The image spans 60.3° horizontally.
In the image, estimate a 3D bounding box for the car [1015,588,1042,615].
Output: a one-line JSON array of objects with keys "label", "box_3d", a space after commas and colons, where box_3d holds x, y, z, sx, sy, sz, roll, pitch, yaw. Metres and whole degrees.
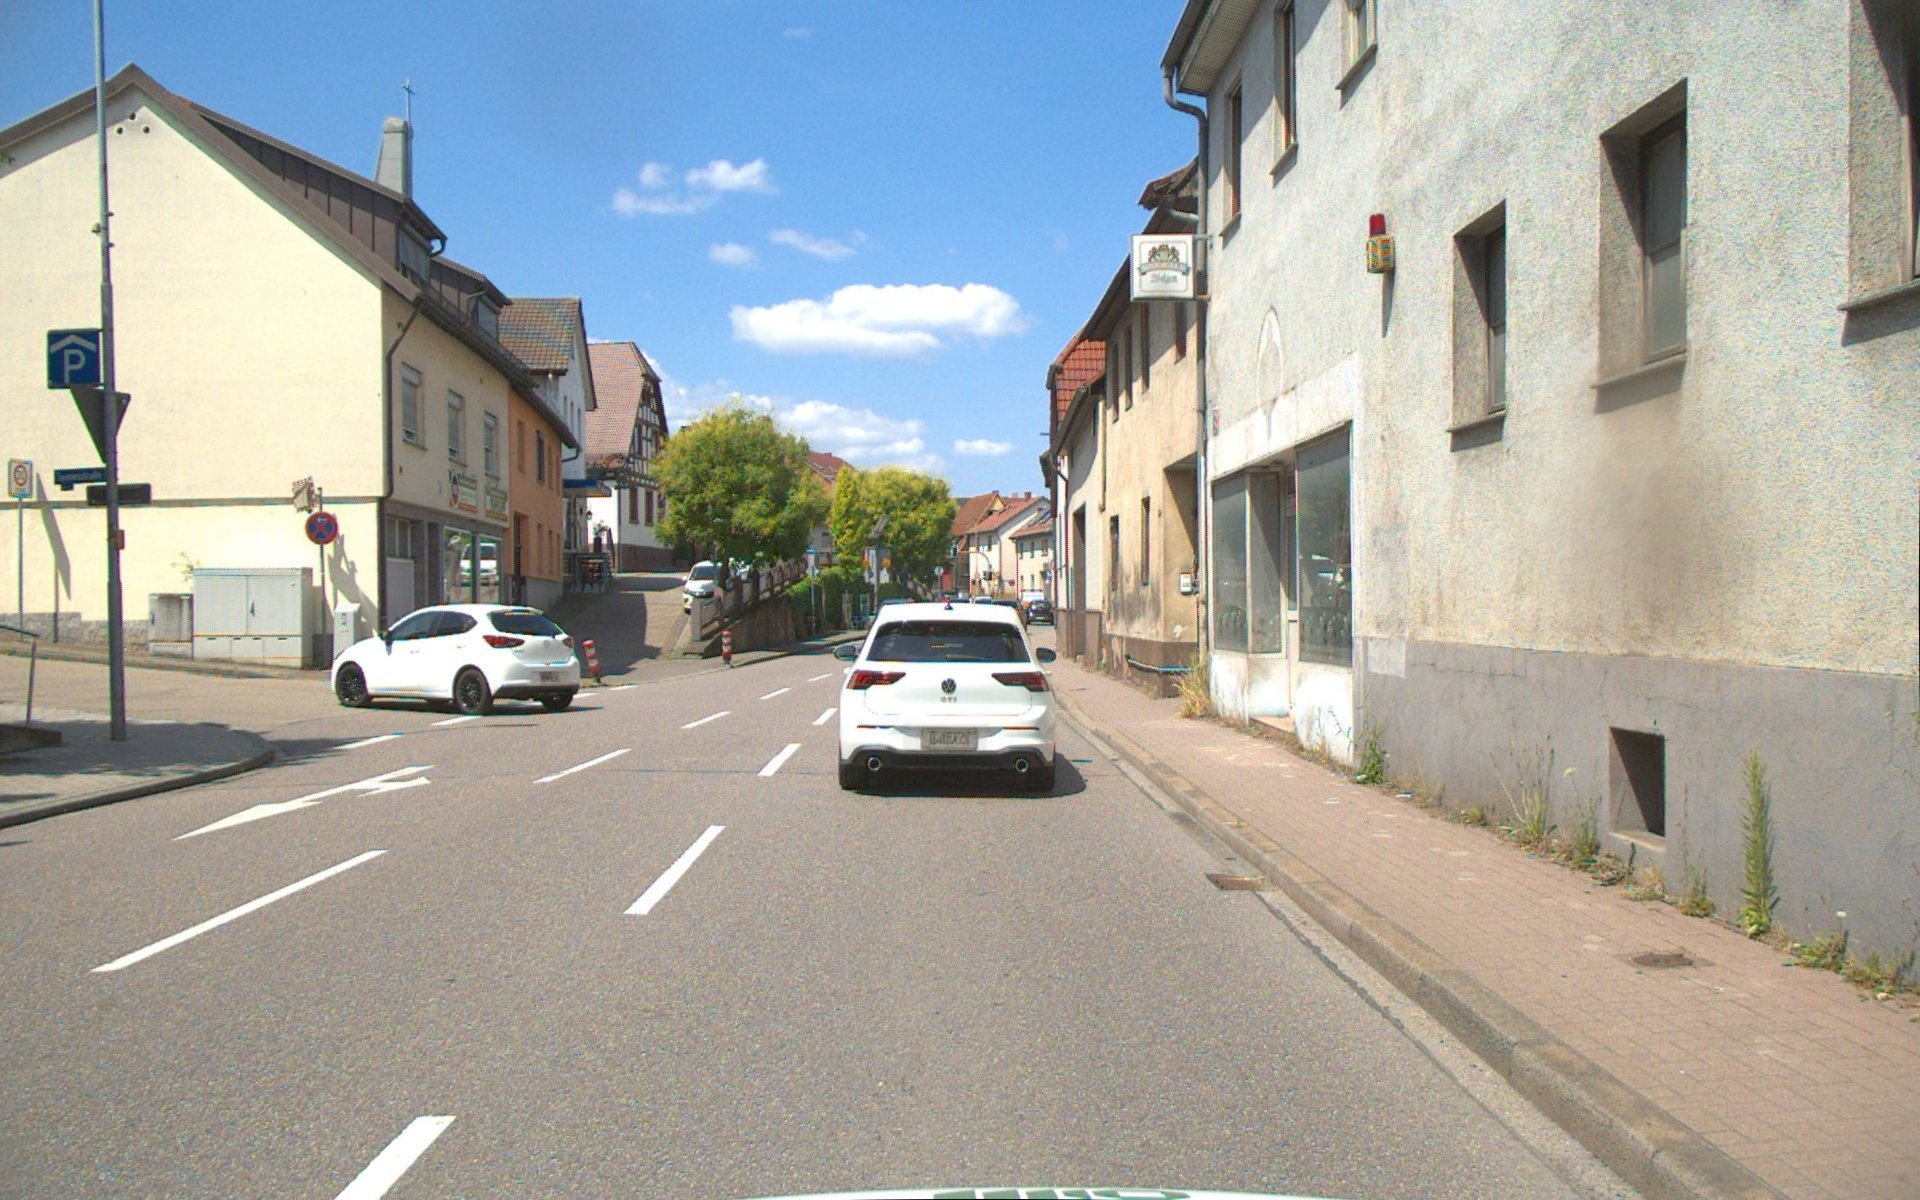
[{"label": "car", "box_3d": [4.786, 0.088, 115.082, 1.738, 1.796, 4.002, 0, 0, 5]}]

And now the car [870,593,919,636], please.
[{"label": "car", "box_3d": [-2.699, 0.583, 68.765, 1.721, 1.664, 4.050, -1, 0, 2]}]

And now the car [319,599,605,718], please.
[{"label": "car", "box_3d": [-7.103, 0.778, 23.501, 3.917, 1.493, 1.808, 1, 0, 34]}]

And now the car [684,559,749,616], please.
[{"label": "car", "box_3d": [-8.117, -0.452, 55.369, 1.659, 1.569, 3.857, 0, 6, -1]}]

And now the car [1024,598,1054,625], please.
[{"label": "car", "box_3d": [4.782, 0.688, 99.531, 1.738, 1.565, 4.002, 0, 0, 3]}]

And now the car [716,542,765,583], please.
[{"label": "car", "box_3d": [-8.951, -1.552, 67.642, 1.544, 1.385, 3.857, 0, 6, -1]}]

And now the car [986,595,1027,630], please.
[{"label": "car", "box_3d": [2.158, 0.556, 75.803, 1.738, 1.565, 4.002, 0, 0, 3]}]

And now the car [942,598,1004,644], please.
[{"label": "car", "box_3d": [0.479, 0.721, 57.345, 1.769, 1.493, 4.003, 1, 0, 6]}]

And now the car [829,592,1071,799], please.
[{"label": "car", "box_3d": [-0.042, 0.715, 14.257, 1.770, 1.493, 4.000, 1, 0, 1]}]
